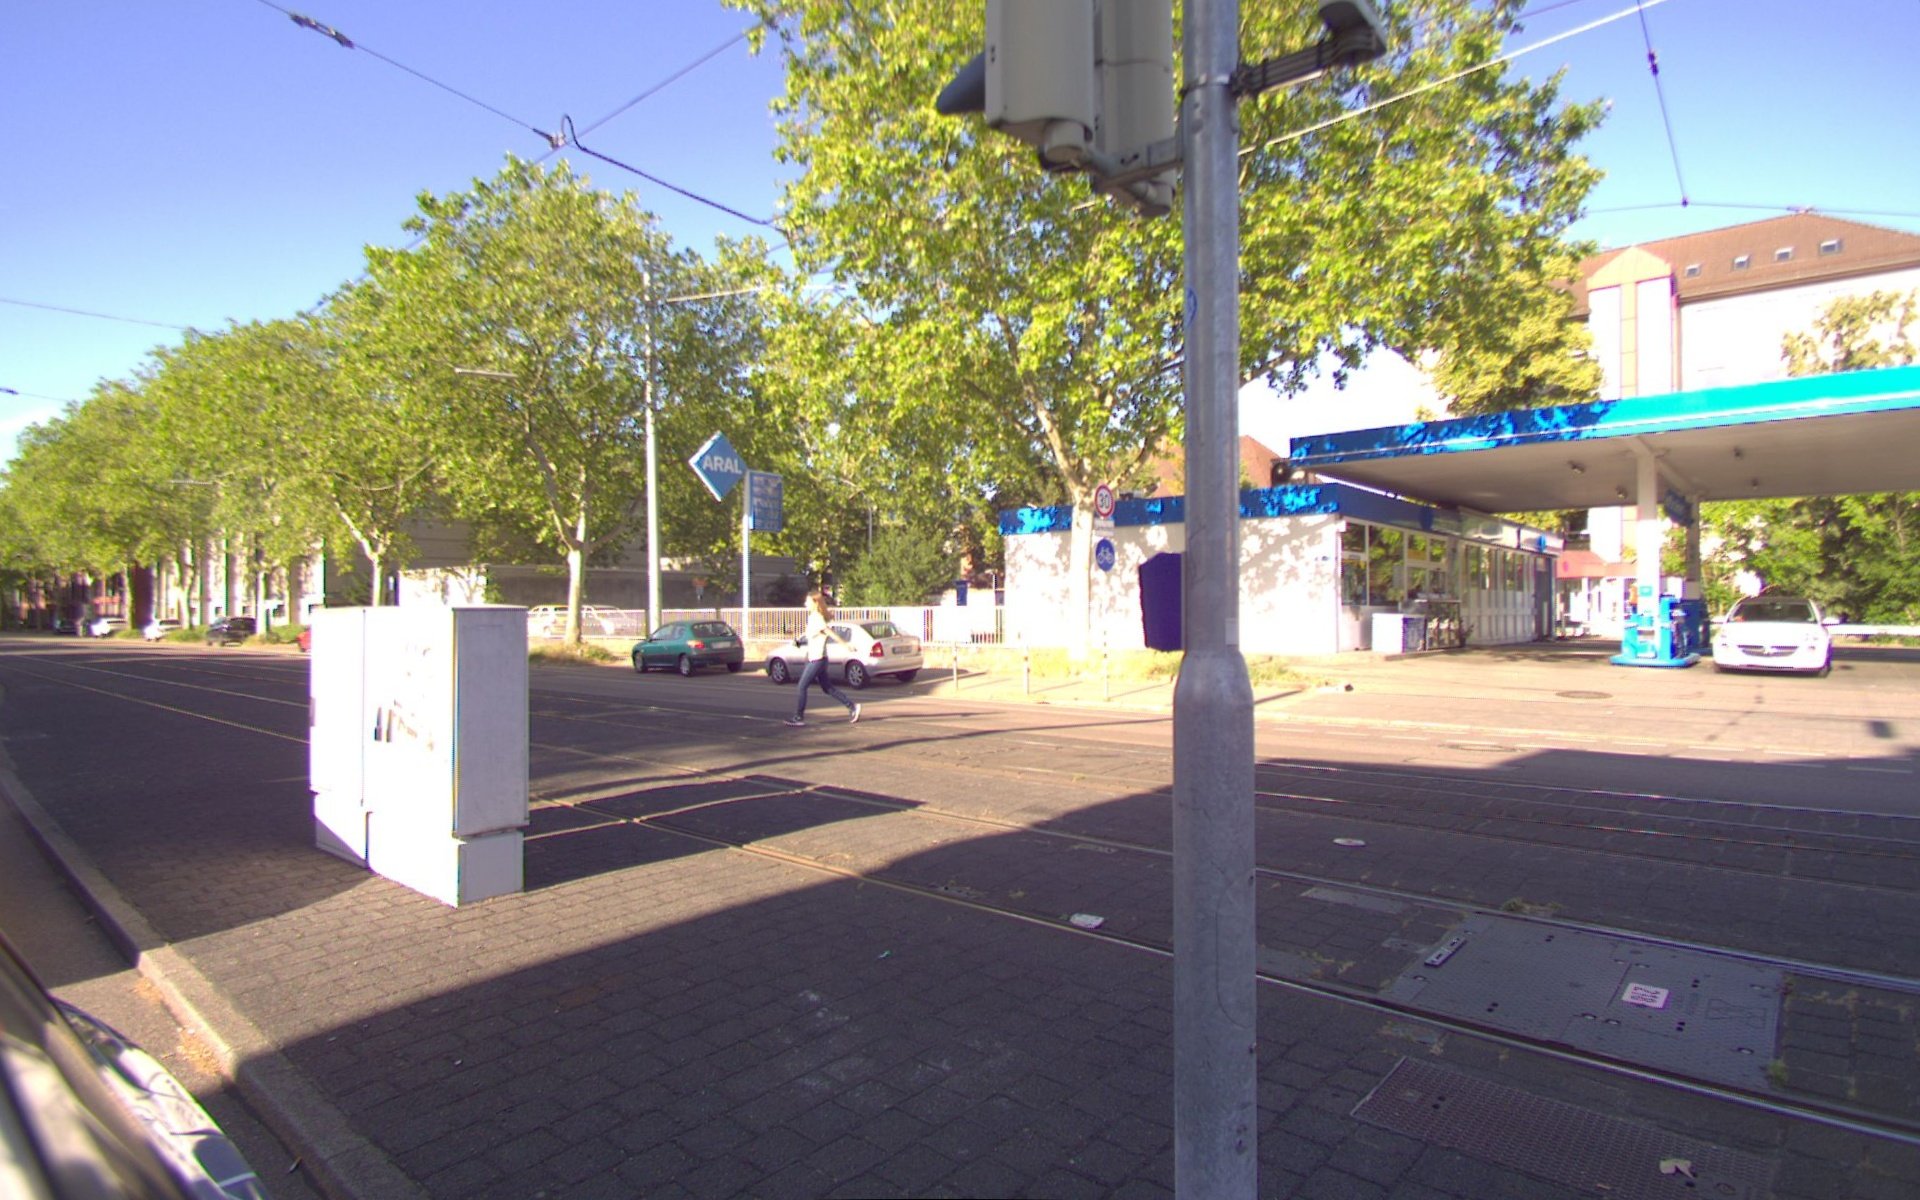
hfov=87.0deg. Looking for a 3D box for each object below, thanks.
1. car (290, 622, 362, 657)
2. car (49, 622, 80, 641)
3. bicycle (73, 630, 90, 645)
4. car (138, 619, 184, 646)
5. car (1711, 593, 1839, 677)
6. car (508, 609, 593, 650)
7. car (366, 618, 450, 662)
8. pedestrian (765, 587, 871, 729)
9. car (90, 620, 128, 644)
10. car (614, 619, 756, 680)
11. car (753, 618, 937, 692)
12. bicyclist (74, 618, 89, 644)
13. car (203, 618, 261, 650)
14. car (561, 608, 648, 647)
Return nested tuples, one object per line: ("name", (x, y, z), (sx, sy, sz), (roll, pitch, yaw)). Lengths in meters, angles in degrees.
("car", (-28.964, 1.771, 46.174), (4.001, 1.418, 1.821), (-1, 1, 44))
("car", (-85.037, 2.942, 96.098), (4.098, 1.686, 1.821), (-1, 1, 44))
("bicycle", (-65.664, 2.784, 75.648), (2.532, 1.129, 0.645), (-1, -1, 41))
("car", (-53.838, 2.157, 68.201), (4.098, 1.686, 1.821), (-1, 1, 44))
("car", (15.961, 0.648, 19.793), (1.780, 1.475, 3.946), (-1, -1, 40))
("car", (-17.133, 1.194, 42.274), (4.002, 1.545, 1.820), (-1, 1, 45))
("car", (-21.964, 1.539, 40.181), (4.002, 1.545, 1.820), (-1, 1, 45))
("pedestrian", (-1.717, 0.667, 12.210), (1.087, 1.631, 0.718), (0, -1, -26))
("car", (-66.941, 2.485, 79.574), (4.098, 1.686, 1.821), (-1, 1, 44))
("car", (-7.429, 1.274, 27.128), (4.138, 1.418, 1.820), (-1, 1, 45))
("car", (-2.622, 1.176, 22.638), (3.997, 1.418, 1.823), (-1, 1, 40))
("bicyclist", (-65.695, 2.311, 75.687), (1.070, 1.878, 0.711), (-1, -2, 41))
("car", (-40.655, 1.882, 56.476), (4.098, 1.628, 1.821), (-1, 1, 44))
("car", (-15.392, 1.171, 43.766), (3.999, 1.545, 1.822), (-1, 1, 42))
